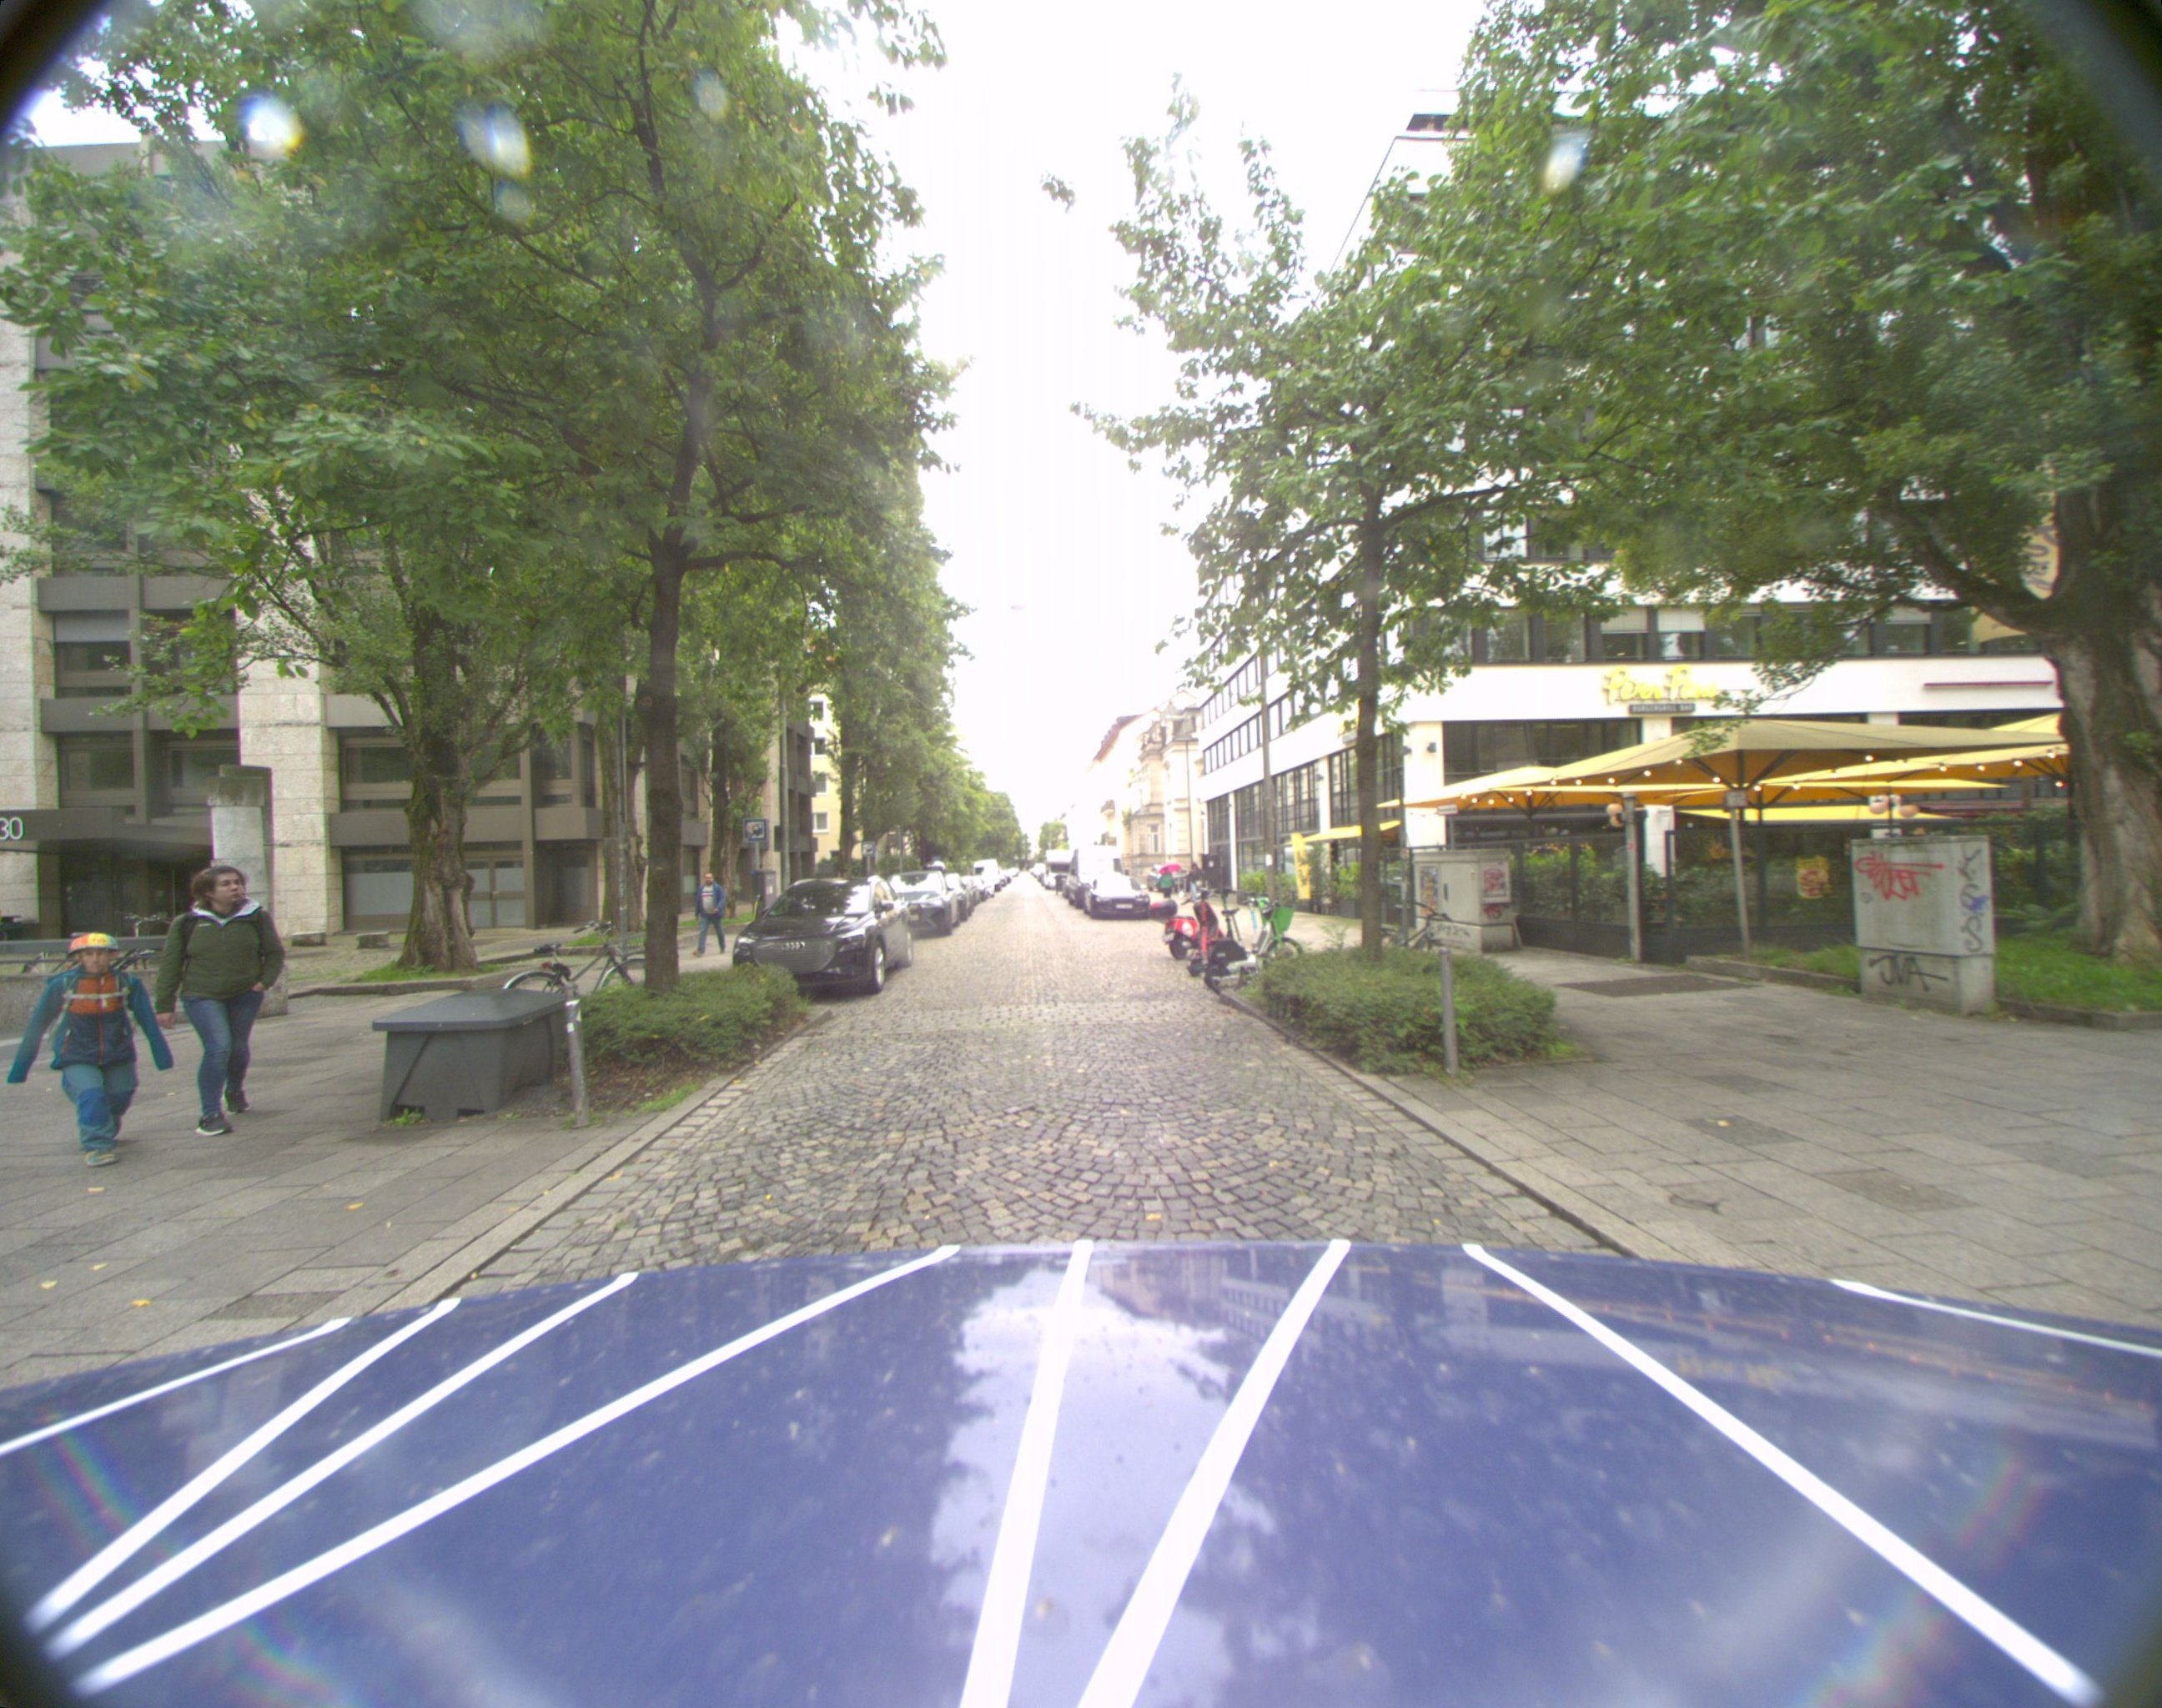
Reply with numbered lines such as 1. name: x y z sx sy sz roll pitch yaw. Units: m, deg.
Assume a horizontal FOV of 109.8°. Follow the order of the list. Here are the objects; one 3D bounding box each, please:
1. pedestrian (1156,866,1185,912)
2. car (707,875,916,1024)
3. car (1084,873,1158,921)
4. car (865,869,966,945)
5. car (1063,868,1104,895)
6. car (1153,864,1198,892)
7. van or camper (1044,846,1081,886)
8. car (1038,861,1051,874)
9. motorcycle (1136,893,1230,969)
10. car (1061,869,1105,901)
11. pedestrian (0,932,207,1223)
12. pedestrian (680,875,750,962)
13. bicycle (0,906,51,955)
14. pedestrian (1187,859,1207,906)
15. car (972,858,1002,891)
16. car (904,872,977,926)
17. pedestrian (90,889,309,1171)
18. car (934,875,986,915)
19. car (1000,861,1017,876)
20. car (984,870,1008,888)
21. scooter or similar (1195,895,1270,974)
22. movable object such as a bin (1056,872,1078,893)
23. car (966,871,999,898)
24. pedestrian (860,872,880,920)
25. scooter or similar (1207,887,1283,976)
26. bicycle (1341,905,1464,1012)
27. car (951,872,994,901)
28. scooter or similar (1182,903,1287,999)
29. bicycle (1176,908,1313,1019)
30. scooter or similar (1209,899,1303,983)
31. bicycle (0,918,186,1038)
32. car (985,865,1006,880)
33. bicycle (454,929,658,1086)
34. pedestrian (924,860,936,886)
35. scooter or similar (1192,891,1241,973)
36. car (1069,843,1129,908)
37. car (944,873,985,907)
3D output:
1. pedestrian: 3.380 1.311 28.663 0.929 1.696 0.800 -2 0 -1
2. car: -3.798 1.235 11.548 1.926 1.690 4.200 -2 0 -5
3. car: 1.230 1.345 25.067 1.999 1.322 4.115 -2 0 -3
4. car: -4.300 1.307 20.509 2.019 1.690 4.671 -2 0 -5
5. car: 0.097 1.554 43.405 1.999 1.380 3.999 -1 -1 -4
6. car: 5.640 1.409 45.686 1.913 1.523 4.168 -2 -1 -3
7. van or camper: -1.588 0.995 62.384 2.465 3.029 7.315 -2 0 -5
8. car: -7.077 2.545 146.971 2.088 2.418 5.609 -2 -1 -5
9. motorcycle: 1.852 1.326 13.557 0.769 1.188 1.996 0 -1 37
10. car: 0.033 1.480 37.419 1.999 1.422 4.000 -1 -1 -1
11. pedestrian: -5.845 1.196 4.339 0.769 1.411 0.819 -2 0 12
12. pedestrian: -7.569 1.314 15.731 0.867 1.704 0.913 -2 0 16
13. bicycle: -27.047 1.919 18.610 0.647 1.148 2.245 -2 0 -3
14. pedestrian: 4.311 1.051 28.291 0.575 1.738 0.650 -2 0 -2
15. car: -7.333 1.574 59.756 2.088 2.418 5.608 -3 0 -5
16. car: -4.752 1.479 26.252 1.999 1.573 4.340 -2 0 -5
17. pedestrian: -5.798 1.101 5.028 0.689 1.690 0.665 -2 0 12
18. car: -5.118 1.710 32.597 1.724 1.382 4.204 -5 0 -4
19. car: -9.302 1.839 97.265 2.000 1.680 3.872 -3 0 -6
20. car: -7.413 2.188 66.358 2.000 1.379 3.872 -3 0 -6
21. scooter or similar: 2.447 1.280 12.377 0.391 1.173 1.248 -2 0 -35
22. movable object such as a bin: -0.902 1.804 48.256 1.255 1.290 1.173 -1 0 -8
23. car: -6.121 1.850 47.428 1.868 1.490 3.872 -3 0 -6
24. pedestrian: -7.356 1.461 26.531 0.490 1.619 0.568 -2 0 0
25. scooter or similar: 2.556 1.172 11.784 1.253 1.265 0.327 -2 0 -34
26. bicycle: 3.708 1.163 8.929 0.554 1.016 1.762 -2 0 -5
27. car: -5.952 1.768 42.102 1.999 1.379 3.872 -3 0 -4
28. scooter or similar: 2.073 1.271 10.191 1.432 1.137 0.369 -2 0 -27
29. bicycle: 2.033 1.297 9.342 1.766 1.136 0.552 -2 0 -34
30. scooter or similar: 2.508 1.243 10.934 1.250 1.137 0.327 -2 0 -3
31. bicycle: -12.056 1.458 9.040 1.868 1.269 0.721 -2 0 -2
32. car: -8.842 1.927 78.330 1.999 1.379 3.872 -3 0 -6
33. bicycle: -4.900 1.374 7.263 0.475 1.130 1.877 -2 0 5
34. pedestrian: -9.265 1.164 46.697 0.646 1.528 0.709 -2 0 -7
35. scooter or similar: 2.284 1.267 12.711 0.327 1.265 1.360 -1 -1 31
36. car: 0.655 0.854 32.221 2.065 2.476 5.848 -1 0 -3
37. car: -5.699 1.723 37.470 1.605 1.422 3.561 -4 0 -4
